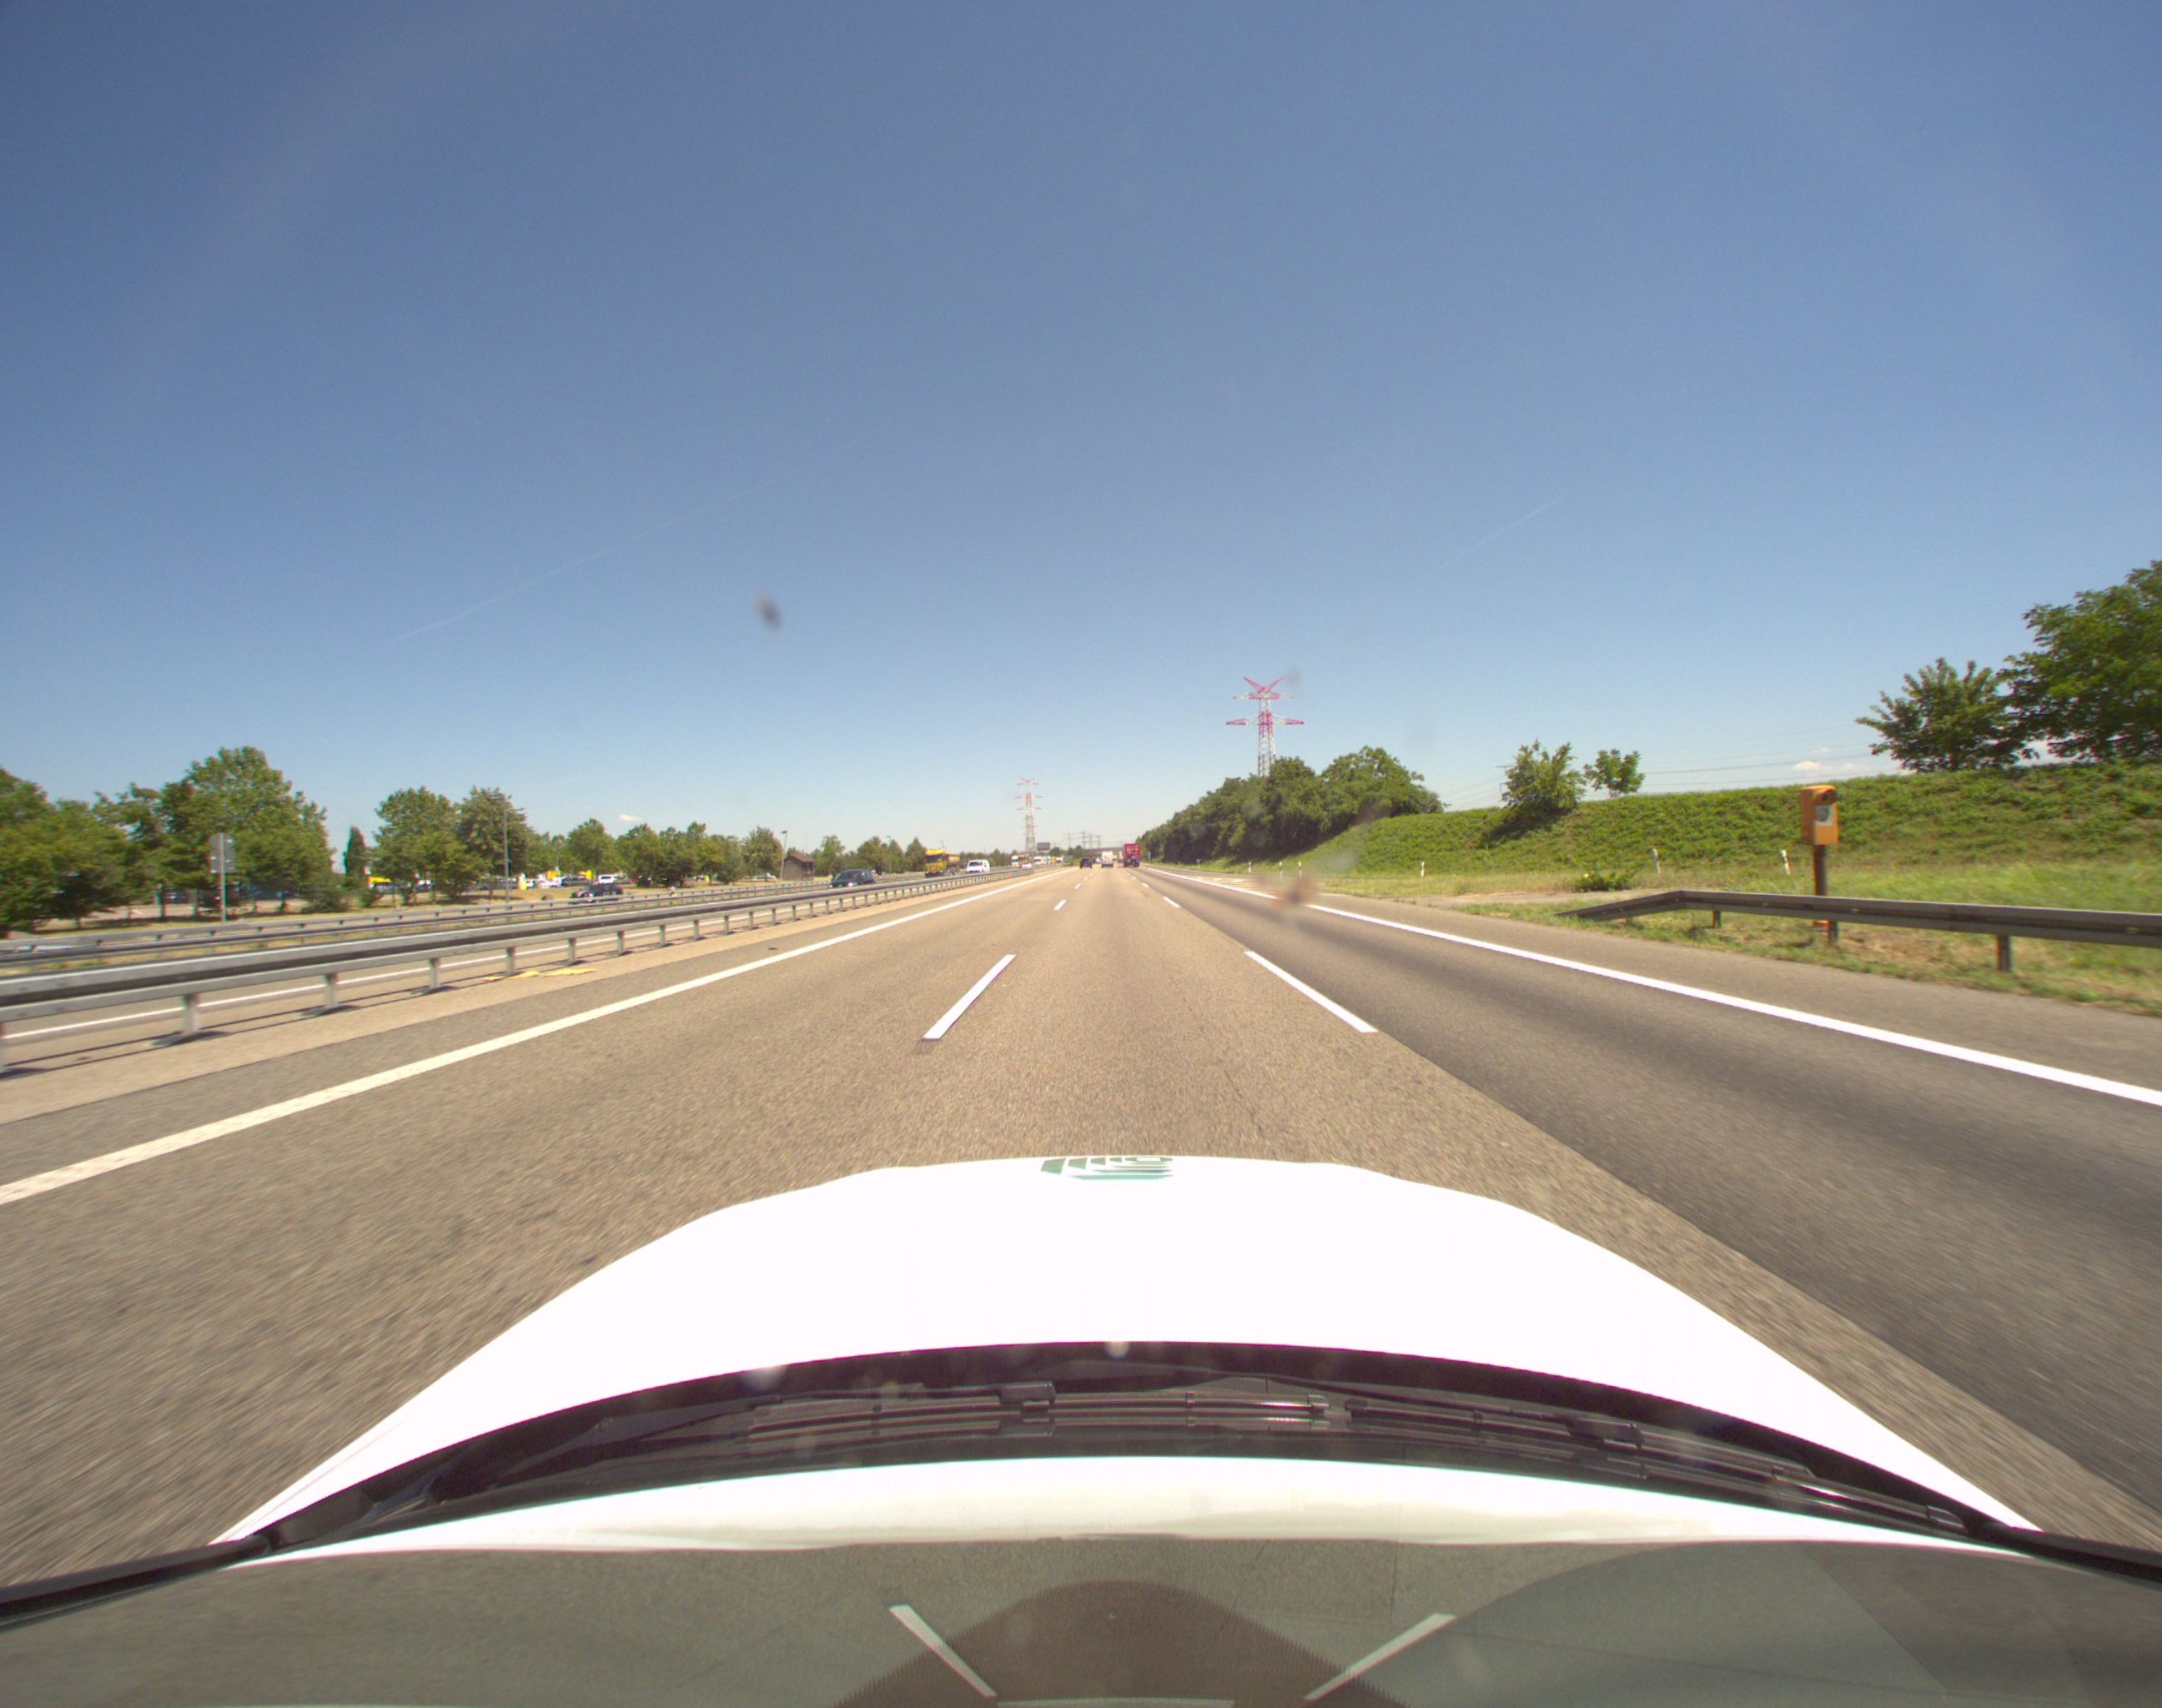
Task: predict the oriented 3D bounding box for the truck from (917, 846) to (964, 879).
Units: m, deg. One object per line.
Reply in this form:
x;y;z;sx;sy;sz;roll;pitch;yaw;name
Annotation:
-17.791;1.031;104.311;3.159;3.810;13.536;-2;0;2;truck

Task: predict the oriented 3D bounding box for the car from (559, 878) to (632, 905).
-34.505;2.657;58.078;2.045;1.551;4.891;-4;0;1;car

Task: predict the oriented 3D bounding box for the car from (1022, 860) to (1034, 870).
-11.357;2.309;173.500;2.045;1.842;5.474;-2;0;1;car

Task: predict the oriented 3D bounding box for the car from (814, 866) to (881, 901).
-12.658;1.555;44.522;2.045;1.551;4.891;-4;0;1;car

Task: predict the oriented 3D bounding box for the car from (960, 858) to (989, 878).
-10.927;1.390;83.841;2.045;1.842;5.944;-2;0;1;car

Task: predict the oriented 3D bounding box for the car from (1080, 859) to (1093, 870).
0.883;1.632;132.584;1.986;1.750;4.001;-1;0;1;car

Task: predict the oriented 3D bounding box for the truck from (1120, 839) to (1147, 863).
9.301;-0.488;145.352;4.315;3.941;16.084;-1;0;2;truck

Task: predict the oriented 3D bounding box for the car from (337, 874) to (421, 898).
-71.331;3.212;82.952;6.232;2.124;2.451;-1;0;-36;car

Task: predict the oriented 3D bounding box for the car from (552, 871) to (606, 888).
-69.438;3.508;112.684;6.232;2.124;2.451;-1;0;-36;car

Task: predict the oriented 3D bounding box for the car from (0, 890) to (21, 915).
-92.803;4.149;69.590;5.176;1.991;2.494;0;0;35;car

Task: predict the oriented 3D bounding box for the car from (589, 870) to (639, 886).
-68.897;3.501;120.249;6.232;2.124;2.451;-1;0;-36;car

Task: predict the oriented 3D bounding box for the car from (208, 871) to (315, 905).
-71.316;2.899;71.038;6.232;2.749;2.451;-1;0;-36;car

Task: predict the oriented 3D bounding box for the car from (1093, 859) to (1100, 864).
4.486;2.135;233.421;1.741;1.634;4.005;-1;0;1;car

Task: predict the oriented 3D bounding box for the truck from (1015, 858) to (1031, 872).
-14.649;2.801;207.018;2.707;3.259;12.394;-2;-1;2;truck

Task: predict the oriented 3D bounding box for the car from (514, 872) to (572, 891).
-69.320;3.506;104.971;6.232;2.124;2.451;-1;0;-36;car

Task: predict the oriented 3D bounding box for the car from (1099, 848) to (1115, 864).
4.470;0.321;139.391;2.611;2.759;6.098;-1;0;1;car

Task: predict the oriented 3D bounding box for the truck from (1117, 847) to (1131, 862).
13.899;0.117;267.001;4.315;4.524;16.084;-1;0;2;truck

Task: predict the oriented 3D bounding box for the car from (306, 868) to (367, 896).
-106.795;3.966;116.962;2.734;3.701;6.326;-1;0;1;car
